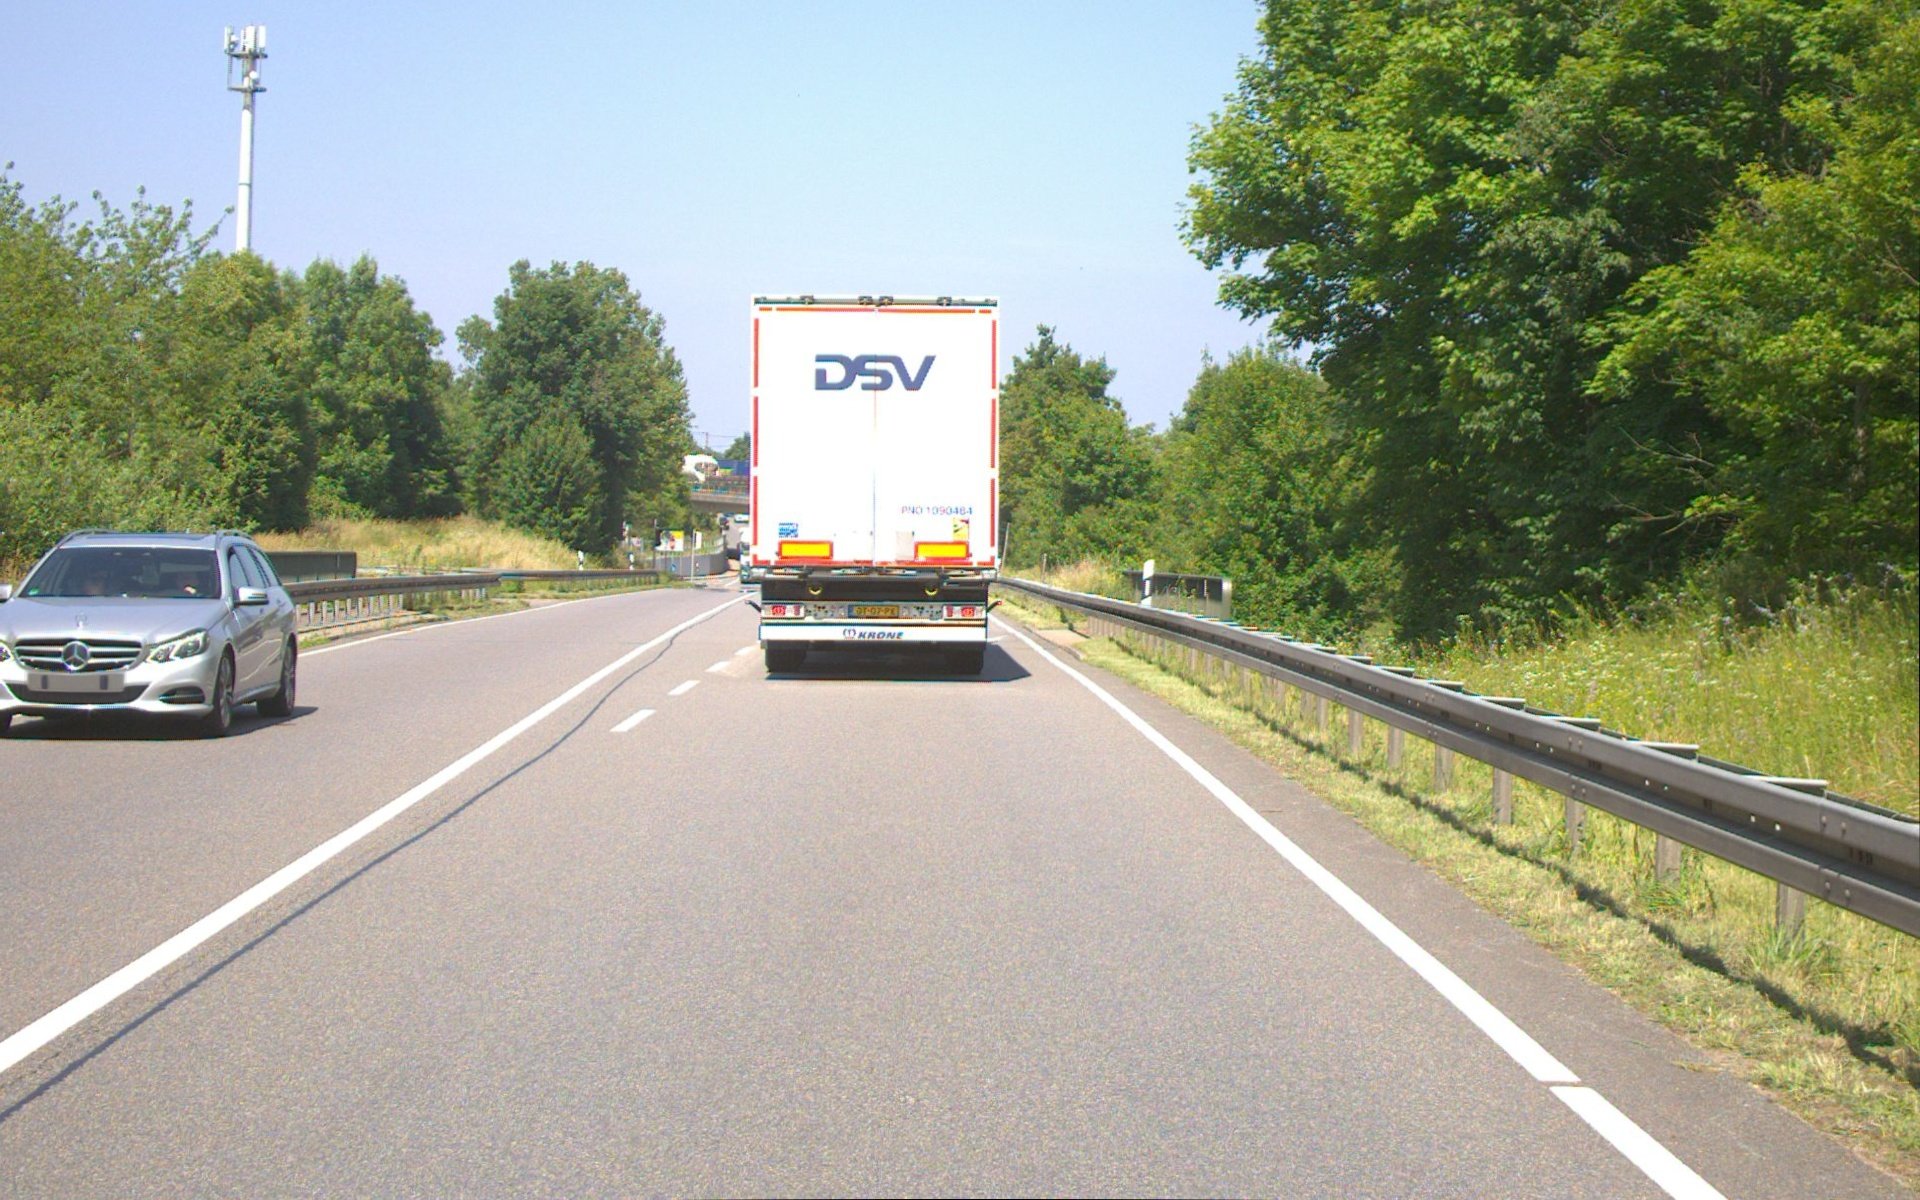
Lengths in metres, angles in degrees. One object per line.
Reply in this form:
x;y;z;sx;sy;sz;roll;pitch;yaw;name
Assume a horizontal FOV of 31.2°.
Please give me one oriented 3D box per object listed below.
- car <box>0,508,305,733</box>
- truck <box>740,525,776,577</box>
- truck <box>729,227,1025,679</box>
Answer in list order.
-6.196;0.103;26.062;1.818;1.541;4.528;1;1;-3;car
-14.937;-3.654;254.678;2.353;3.737;12.627;1;1;-2;truck
-0.917;-1.534;39.920;2.950;4.553;9.863;1;0;-1;truck
